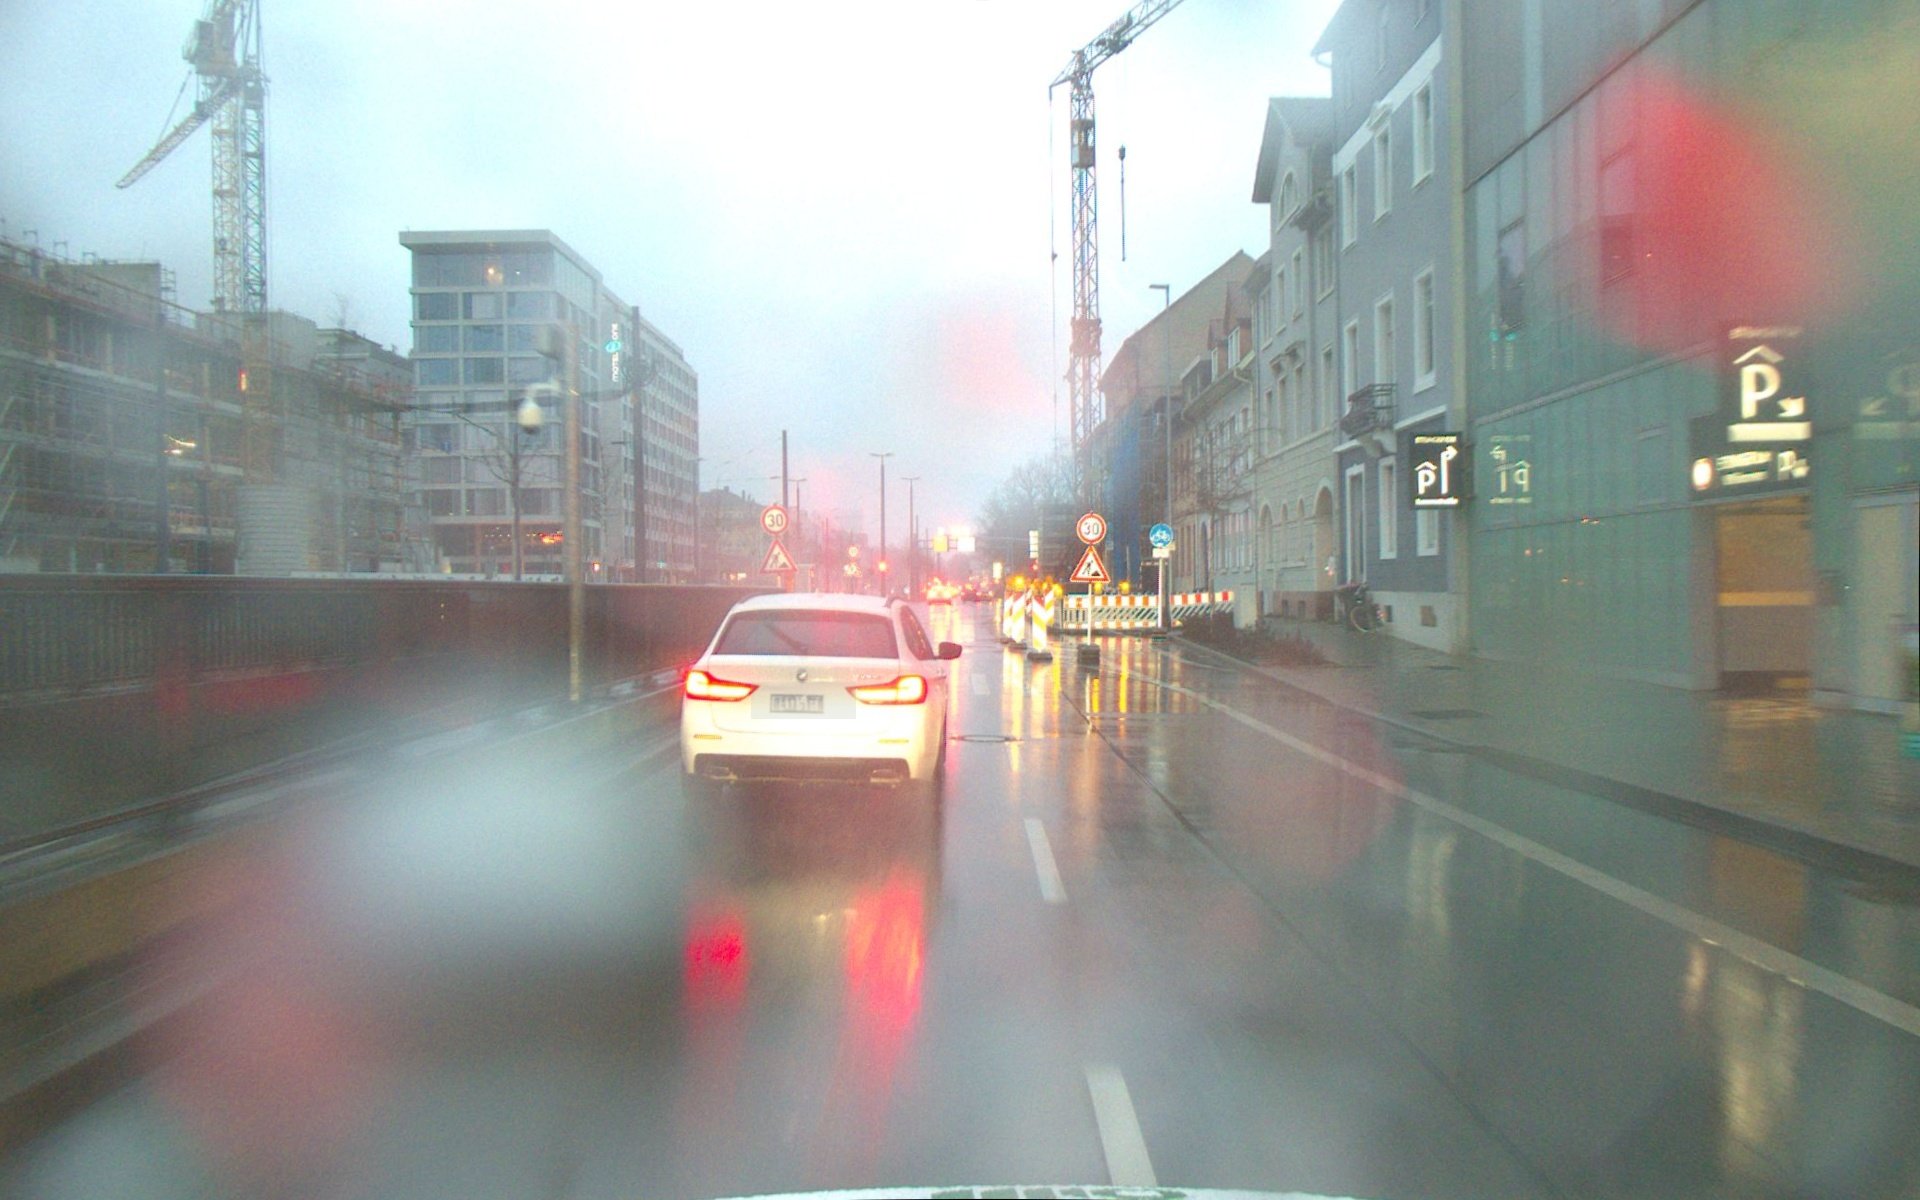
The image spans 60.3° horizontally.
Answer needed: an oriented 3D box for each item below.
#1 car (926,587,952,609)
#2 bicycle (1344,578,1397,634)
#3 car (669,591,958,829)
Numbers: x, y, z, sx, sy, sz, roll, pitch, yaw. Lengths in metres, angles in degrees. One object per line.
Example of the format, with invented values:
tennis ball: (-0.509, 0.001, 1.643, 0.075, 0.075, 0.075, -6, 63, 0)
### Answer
car: (-1.605, -0.159, 127.931, 1.862, 1.670, 4.000, 0, 0, 0)
bicycle: (9.644, 0.140, 38.911, 0.668, 1.243, 1.905, -3, 0, -1)
car: (-0.933, 0.682, 12.923, 1.814, 1.491, 4.946, 0, 0, 0)
